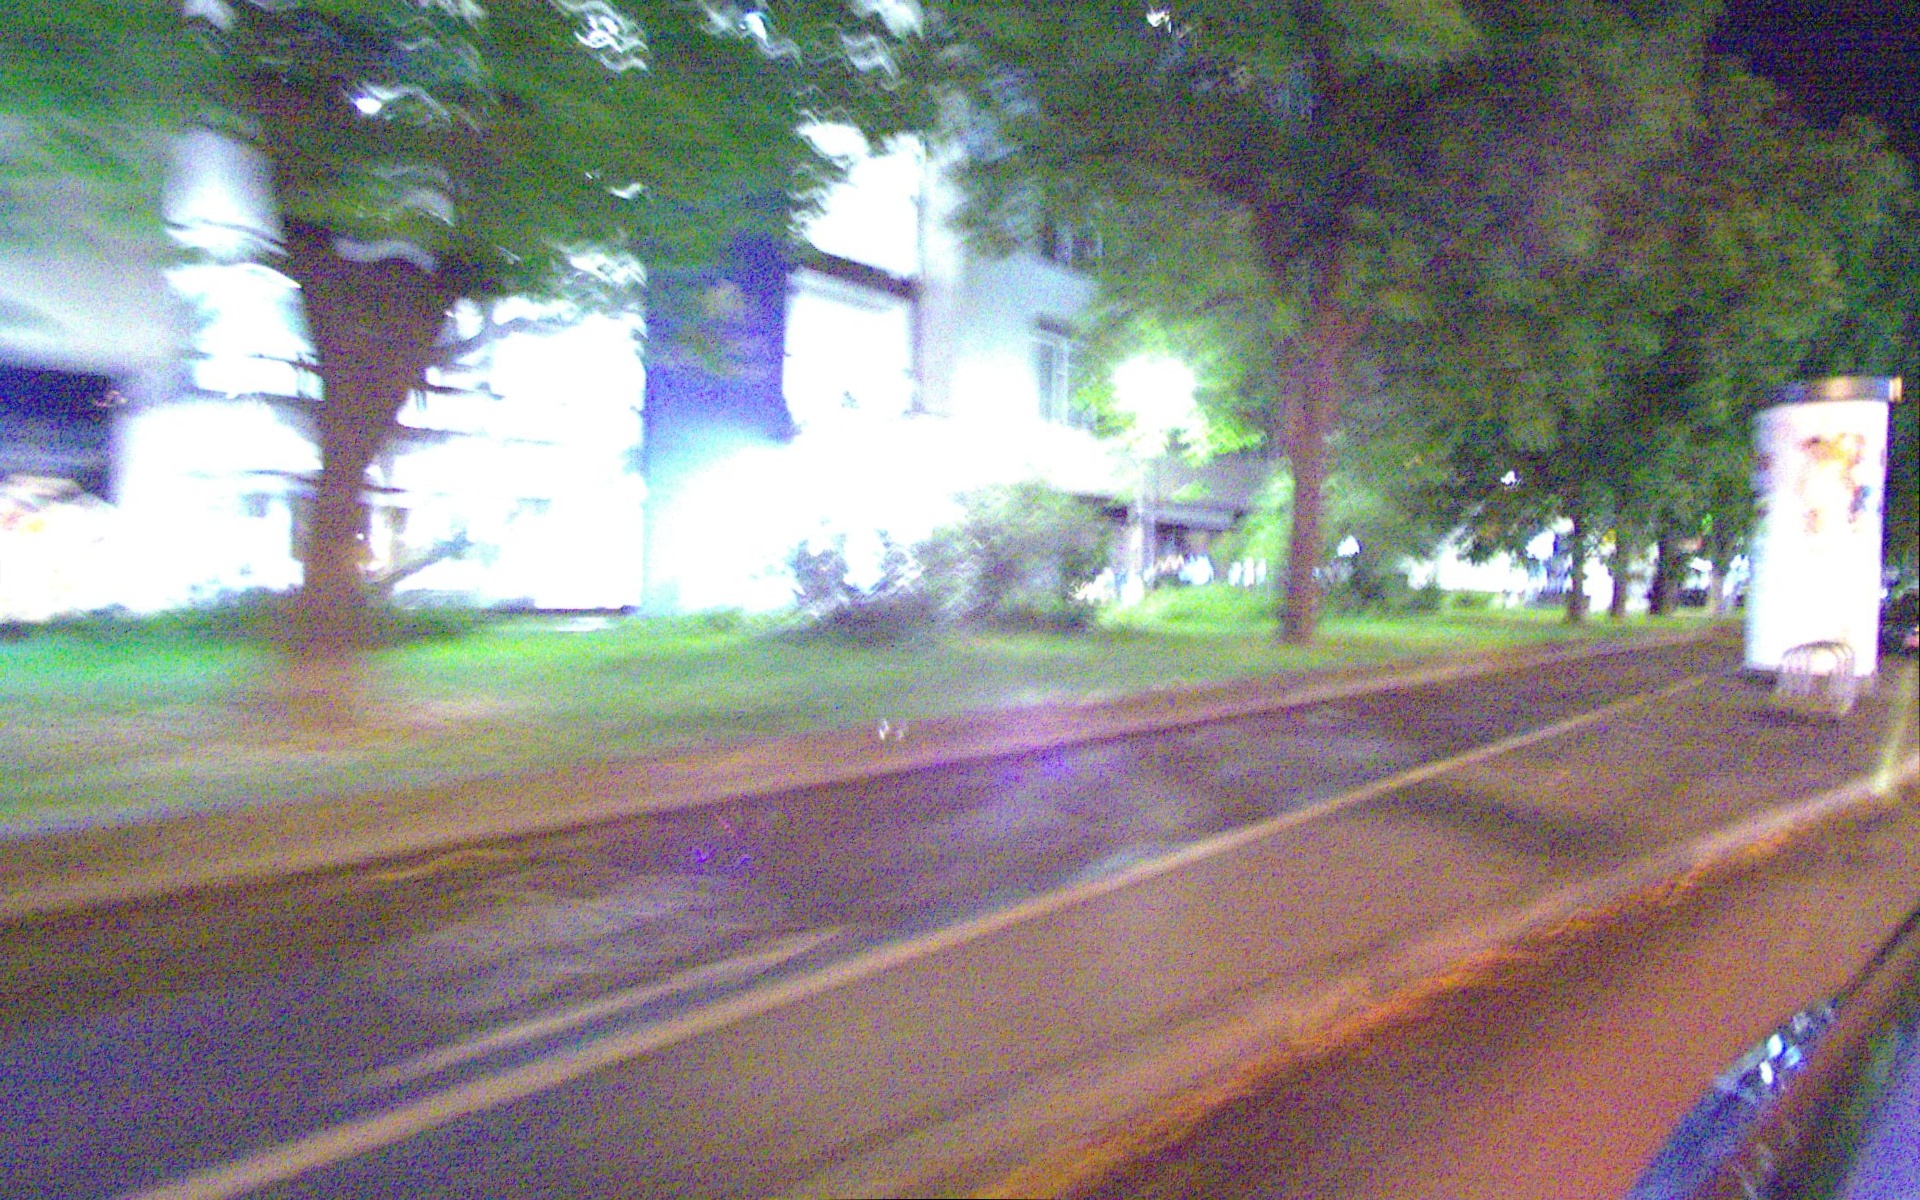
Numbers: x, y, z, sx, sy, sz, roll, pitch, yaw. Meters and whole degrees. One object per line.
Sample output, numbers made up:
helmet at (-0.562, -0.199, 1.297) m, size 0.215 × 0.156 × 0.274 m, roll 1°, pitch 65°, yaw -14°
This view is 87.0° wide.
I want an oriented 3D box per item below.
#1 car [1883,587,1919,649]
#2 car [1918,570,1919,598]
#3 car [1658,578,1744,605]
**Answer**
car at (24.559, 0.441, 25.360) m, size 4.728 × 1.431 × 1.766 m, roll -1°, pitch 3°, yaw -44°
car at (78.655, -1.235, 81.149) m, size 2.131 × 2.355 × 5.081 m, roll 3°, pitch 3°, yaw 38°
car at (49.062, -0.578, 67.053) m, size 1.774 × 1.550 × 4.319 m, roll -2°, pitch 4°, yaw -44°
